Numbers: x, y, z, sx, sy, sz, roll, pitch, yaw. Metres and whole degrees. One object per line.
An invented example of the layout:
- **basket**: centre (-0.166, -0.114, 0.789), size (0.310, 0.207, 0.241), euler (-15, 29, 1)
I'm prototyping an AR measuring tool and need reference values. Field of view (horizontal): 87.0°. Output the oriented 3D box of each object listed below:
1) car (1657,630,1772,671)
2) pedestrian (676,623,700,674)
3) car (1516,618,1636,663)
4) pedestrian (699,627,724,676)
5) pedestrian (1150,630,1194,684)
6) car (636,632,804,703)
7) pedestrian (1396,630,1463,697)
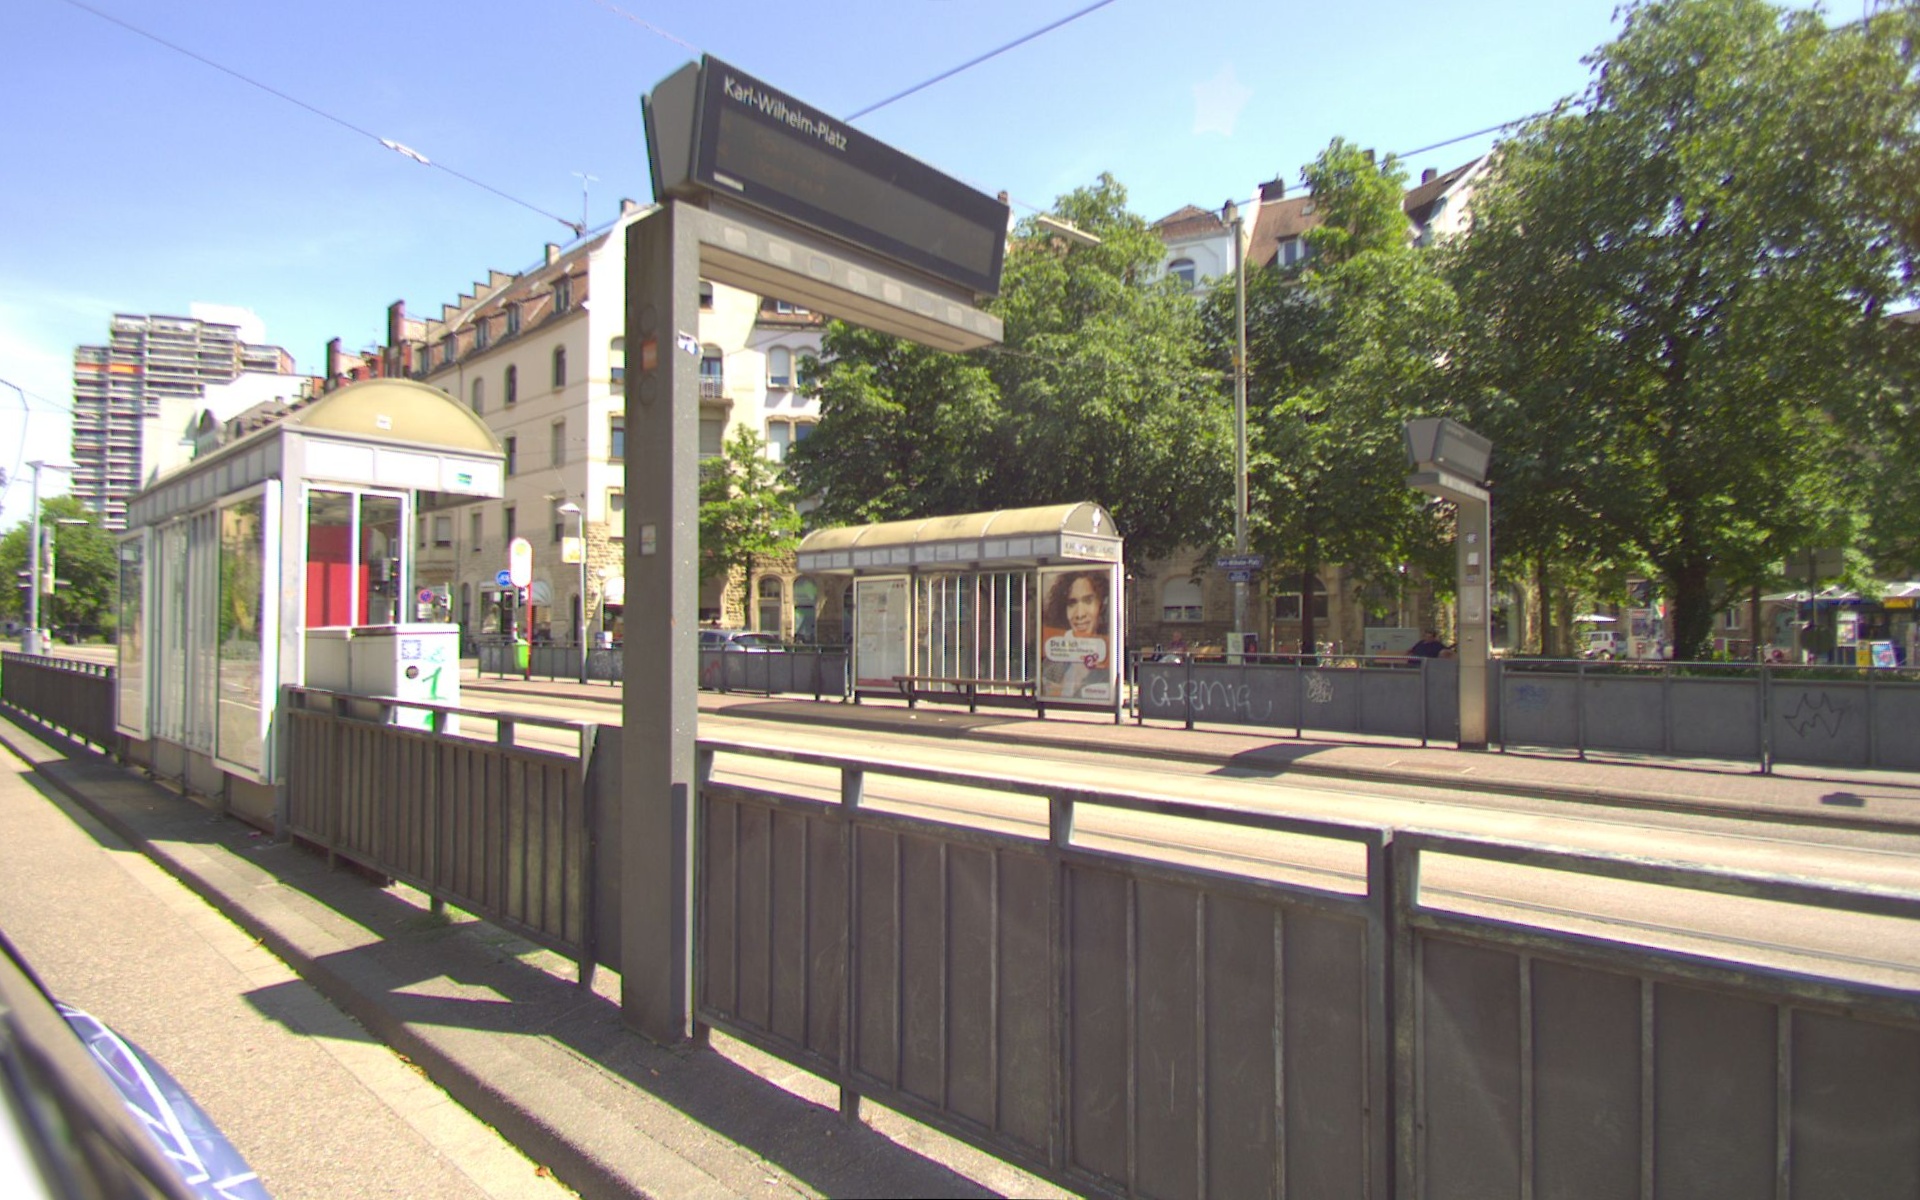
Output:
- **car**: centre (35.790, 2.348, 48.091), size (1.736, 1.721, 3.998), euler (-1, 0, -33)
- **pedestrian**: centre (-8.879, 1.569, 33.043), size (0.473, 1.659, 0.586), euler (-2, -3, 41)
- **car**: centre (26.721, 1.703, 43.999), size (1.966, 1.803, 4.011), euler (-1, 0, -33)
- **pedestrian**: centre (-7.981, 1.657, 32.485), size (0.473, 1.563, 0.586), euler (-2, -3, 39)
- **pedestrian**: centre (5.095, 1.355, 24.305), size (0.930, 1.253, 0.860), euler (-1, 0, 17)
- **car**: centre (-5.596, 1.487, 23.352), size (3.998, 1.404, 1.789), euler (-1, 0, 41)
- **pedestrian**: centre (9.285, 1.239, 20.030), size (0.852, 1.253, 0.939), euler (-1, 0, -43)
